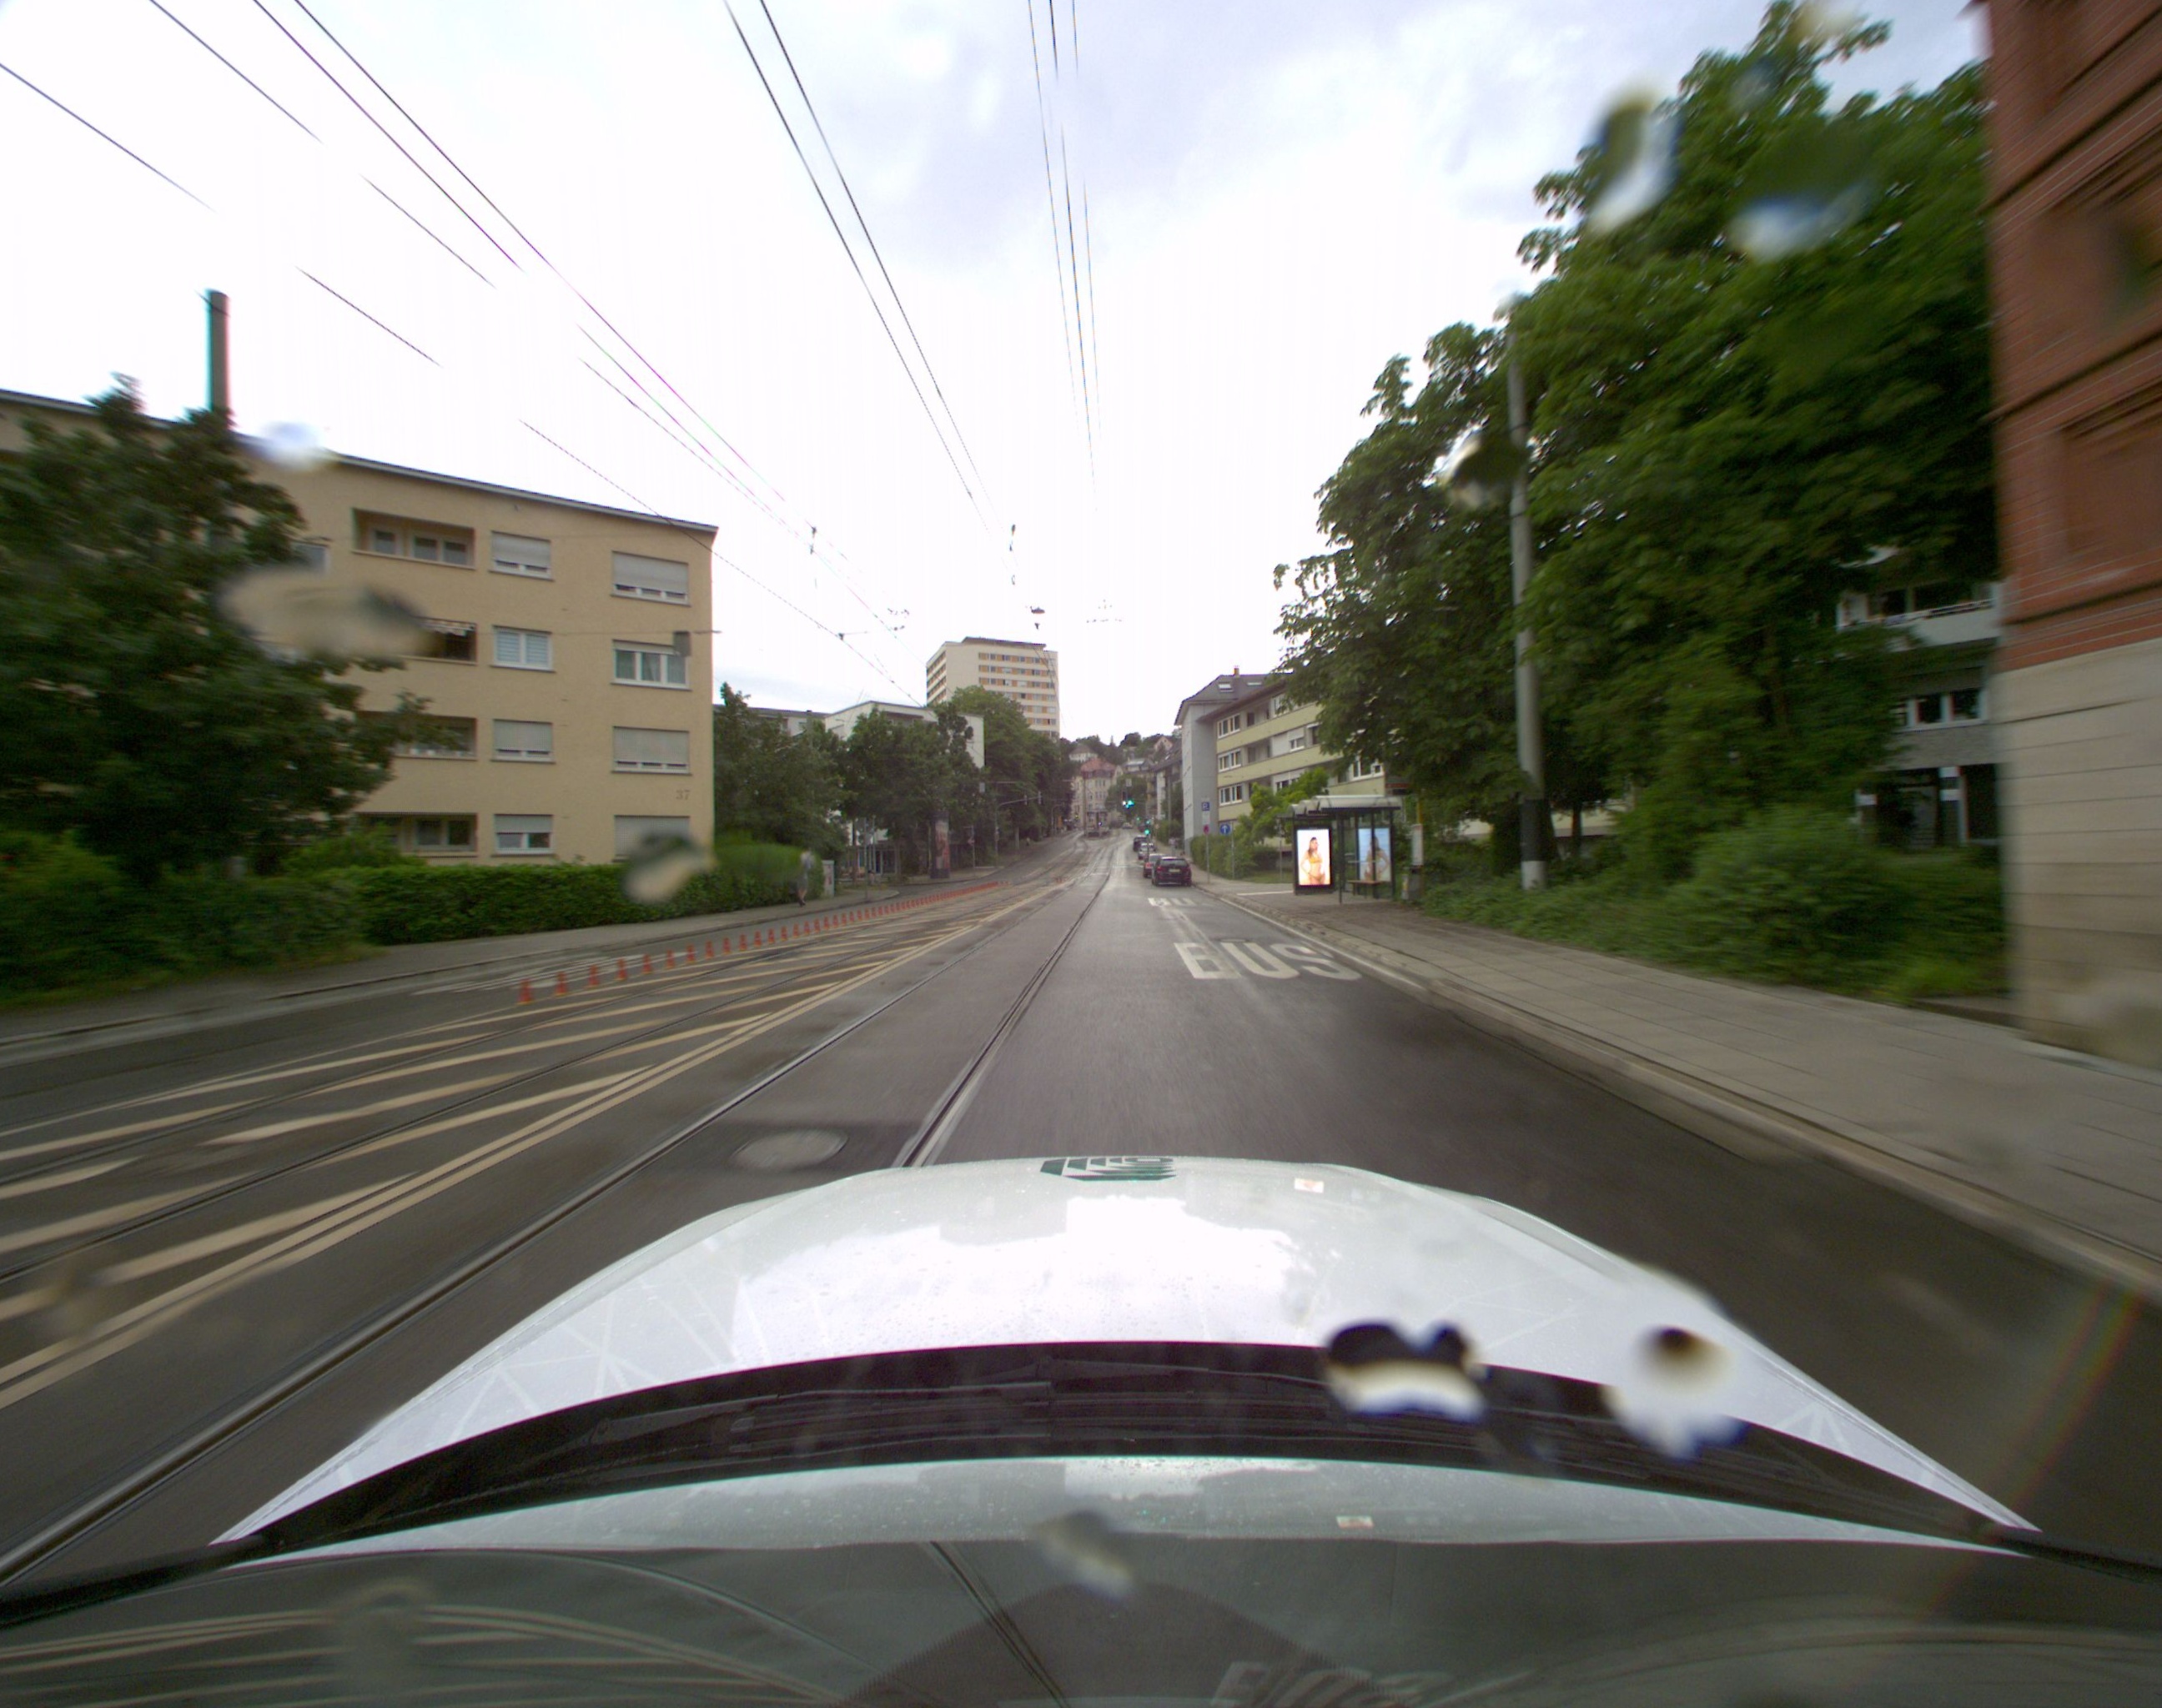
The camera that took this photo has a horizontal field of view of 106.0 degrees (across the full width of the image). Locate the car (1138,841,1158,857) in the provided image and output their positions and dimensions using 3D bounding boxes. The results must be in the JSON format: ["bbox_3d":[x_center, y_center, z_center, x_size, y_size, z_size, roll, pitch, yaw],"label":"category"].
[{"bbox_3d":[6.260,-0.493,76.850,1.698,1.433,4.105,0,2,2],"label":"car"}]

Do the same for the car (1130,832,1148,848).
[{"bbox_3d":[6.593,-1.629,92.971,1.899,1.641,4.693,0,2,2],"label":"car"}]

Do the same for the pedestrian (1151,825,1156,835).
[{"bbox_3d":[11.245,-3.735,126.685,0.641,1.628,0.701,-1,1,6],"label":"pedestrian"}]

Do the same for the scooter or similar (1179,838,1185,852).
[{"bbox_3d":[9.600,-0.869,77.287,0.571,1.249,1.614,-1,5,8],"label":"scooter or similar"}]

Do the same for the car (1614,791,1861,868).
[{"bbox_3d":[15.285,-0.491,19.173,4.329,1.558,1.853,-2,-1,42],"label":"car"}]

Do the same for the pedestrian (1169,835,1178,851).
[{"bbox_3d":[9.608,-1.191,84.710,0.878,1.582,0.803,-3,4,5],"label":"pedestrian"}]

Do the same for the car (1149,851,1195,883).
[{"bbox_3d":[4.447,0.611,40.369,1.851,1.487,4.647,-1,0,2],"label":"car"}]

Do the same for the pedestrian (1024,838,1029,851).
[{"bbox_3d":[-7.013,-1.242,105.112,0.581,1.600,0.869,1,2,-1],"label":"pedestrian"}]

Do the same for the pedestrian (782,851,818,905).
[{"bbox_3d":[-9.763,0.836,28.346,0.916,1.846,1.016,0,-1,-3],"label":"pedestrian"}]

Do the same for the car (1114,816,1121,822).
[{"bbox_3d":[11.045,-10.540,246.886,1.899,1.641,4.693,0,2,2],"label":"car"}]

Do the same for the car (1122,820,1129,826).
[{"bbox_3d":[11.773,-8.282,215.791,1.899,1.641,4.693,0,2,2],"label":"car"}]

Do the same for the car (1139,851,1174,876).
[{"bbox_3d":[4.756,0.580,51.847,1.933,1.464,4.207,-1,0,1],"label":"car"}]
